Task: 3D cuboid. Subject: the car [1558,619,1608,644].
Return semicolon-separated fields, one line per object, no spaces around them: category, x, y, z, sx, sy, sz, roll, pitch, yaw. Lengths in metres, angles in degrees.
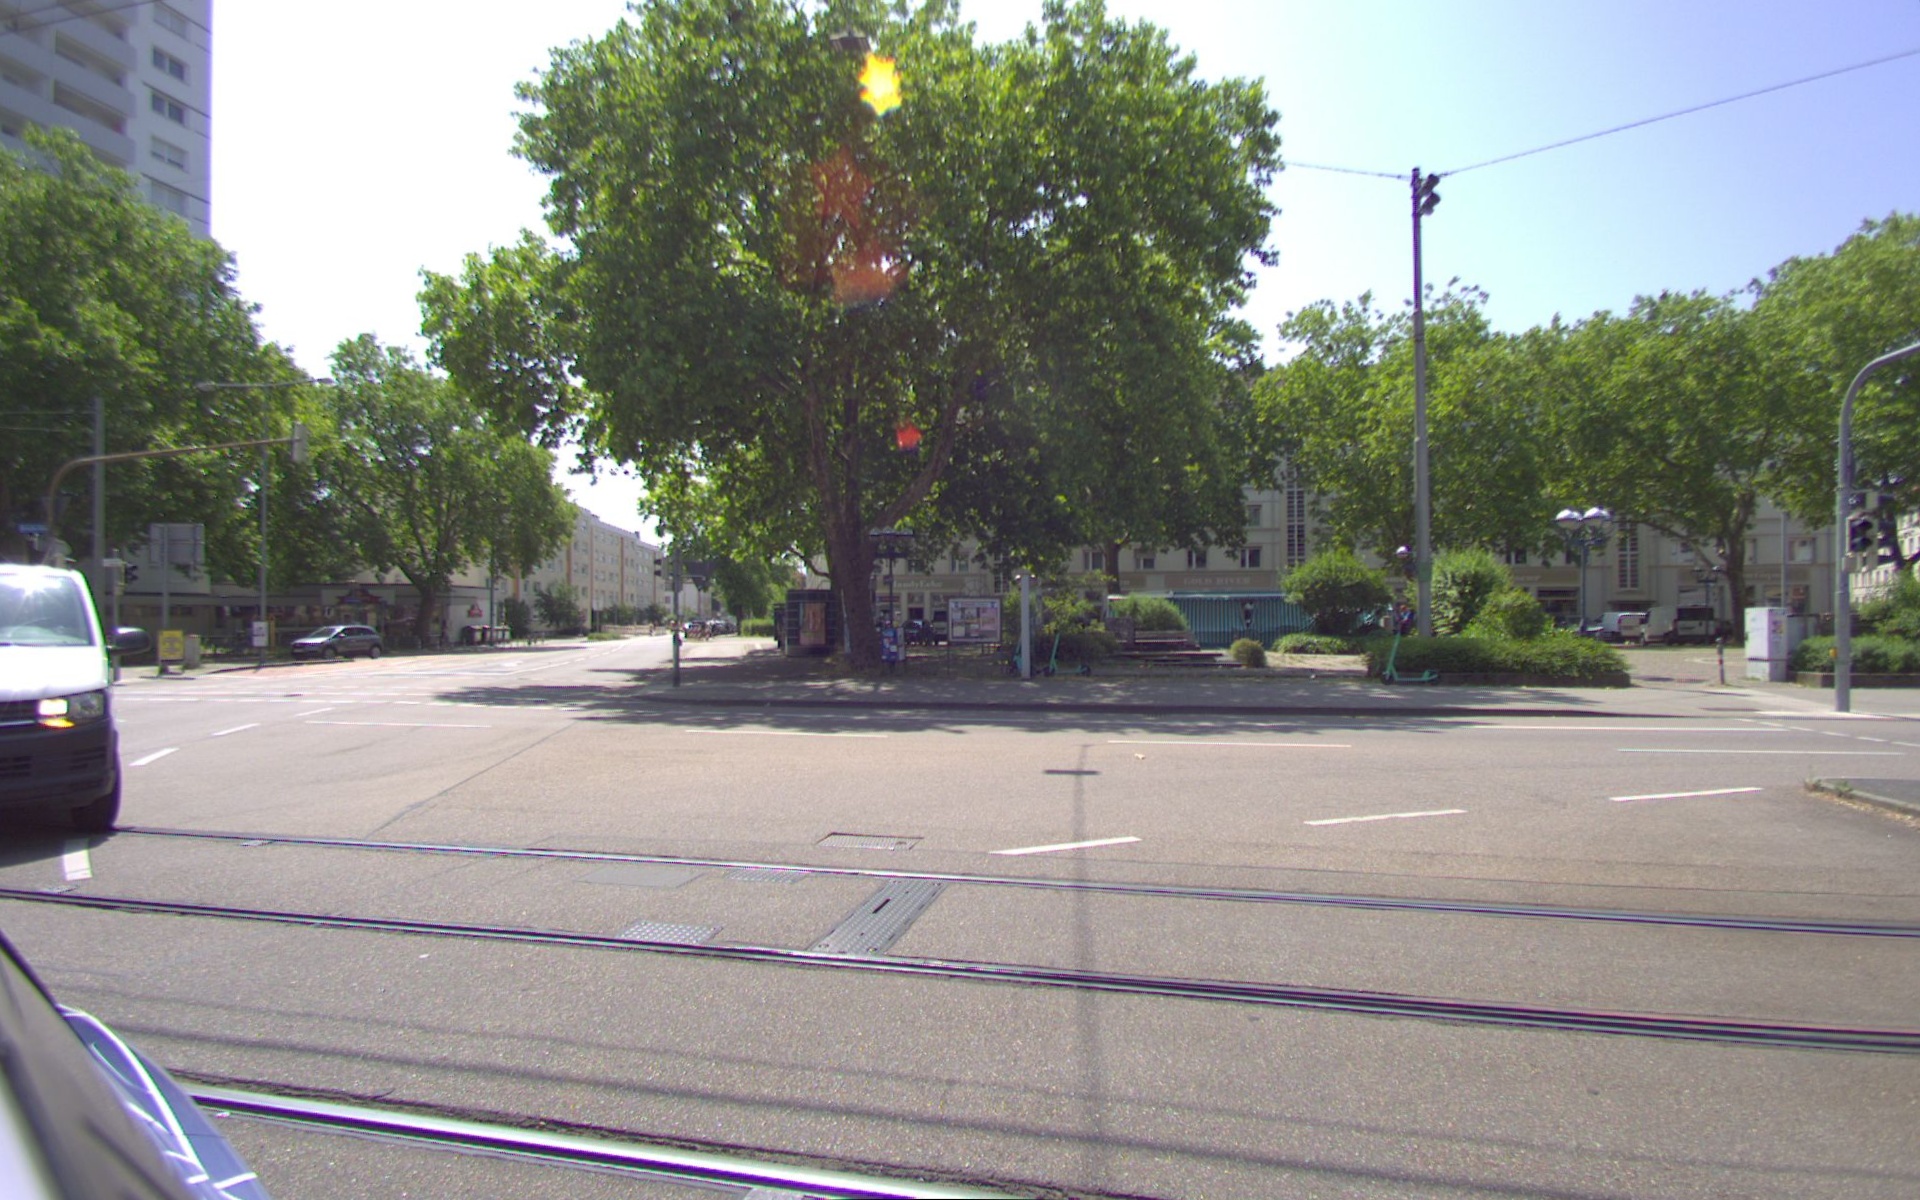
car;39.456;1.989;64.198;1.607;1.420;3.908;0;0;15

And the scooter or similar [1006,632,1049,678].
scooter or similar;1.675;1.361;25.179;1.030;1.129;0.255;-1;-1;24

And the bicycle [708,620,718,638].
bicycle;-21.998;2.559;90.224;0.588;1.566;1.845;-1;0;-4

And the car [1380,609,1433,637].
car;18.788;0.949;42.677;1.342;1.106;2.731;0;0;8

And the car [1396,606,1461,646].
car;17.955;0.970;38.883;1.456;1.394;3.334;0;0;10

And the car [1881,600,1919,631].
car;47.214;0.735;49.212;1.714;1.499;3.839;-1;-1;9

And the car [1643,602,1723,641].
car;38.220;1.110;53.609;2.145;1.964;3.981;0;0;15

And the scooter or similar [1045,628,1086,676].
scooter or similar;2.569;1.265;24.616;0.971;1.129;0.255;0;0;24

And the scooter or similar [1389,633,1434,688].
scooter or similar;9.425;1.259;21.139;0.855;1.129;0.255;0;0;24

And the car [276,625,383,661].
car;-28.965;1.933;46.644;1.926;1.472;4.043;0;0;12

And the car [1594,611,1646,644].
car;41.723;1.702;64.078;1.559;1.964;3.908;0;0;15

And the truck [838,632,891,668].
truck;-6.296;3.254;67.245;1.949;2.138;4.347;0;0;18

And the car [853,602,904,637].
car;-5.027;1.193;62.984;1.982;2.029;3.980;0;0;15

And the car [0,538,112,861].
car;-7.747;0.651;7.804;1.824;1.968;4.951;0;-1;-40

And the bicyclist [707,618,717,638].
bicyclist;-22.032;2.489;89.953;0.695;1.748;0.788;-1;0;-4

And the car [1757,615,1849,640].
car;43.364;1.395;52.176;1.901;1.265;3.839;-1;-1;9
